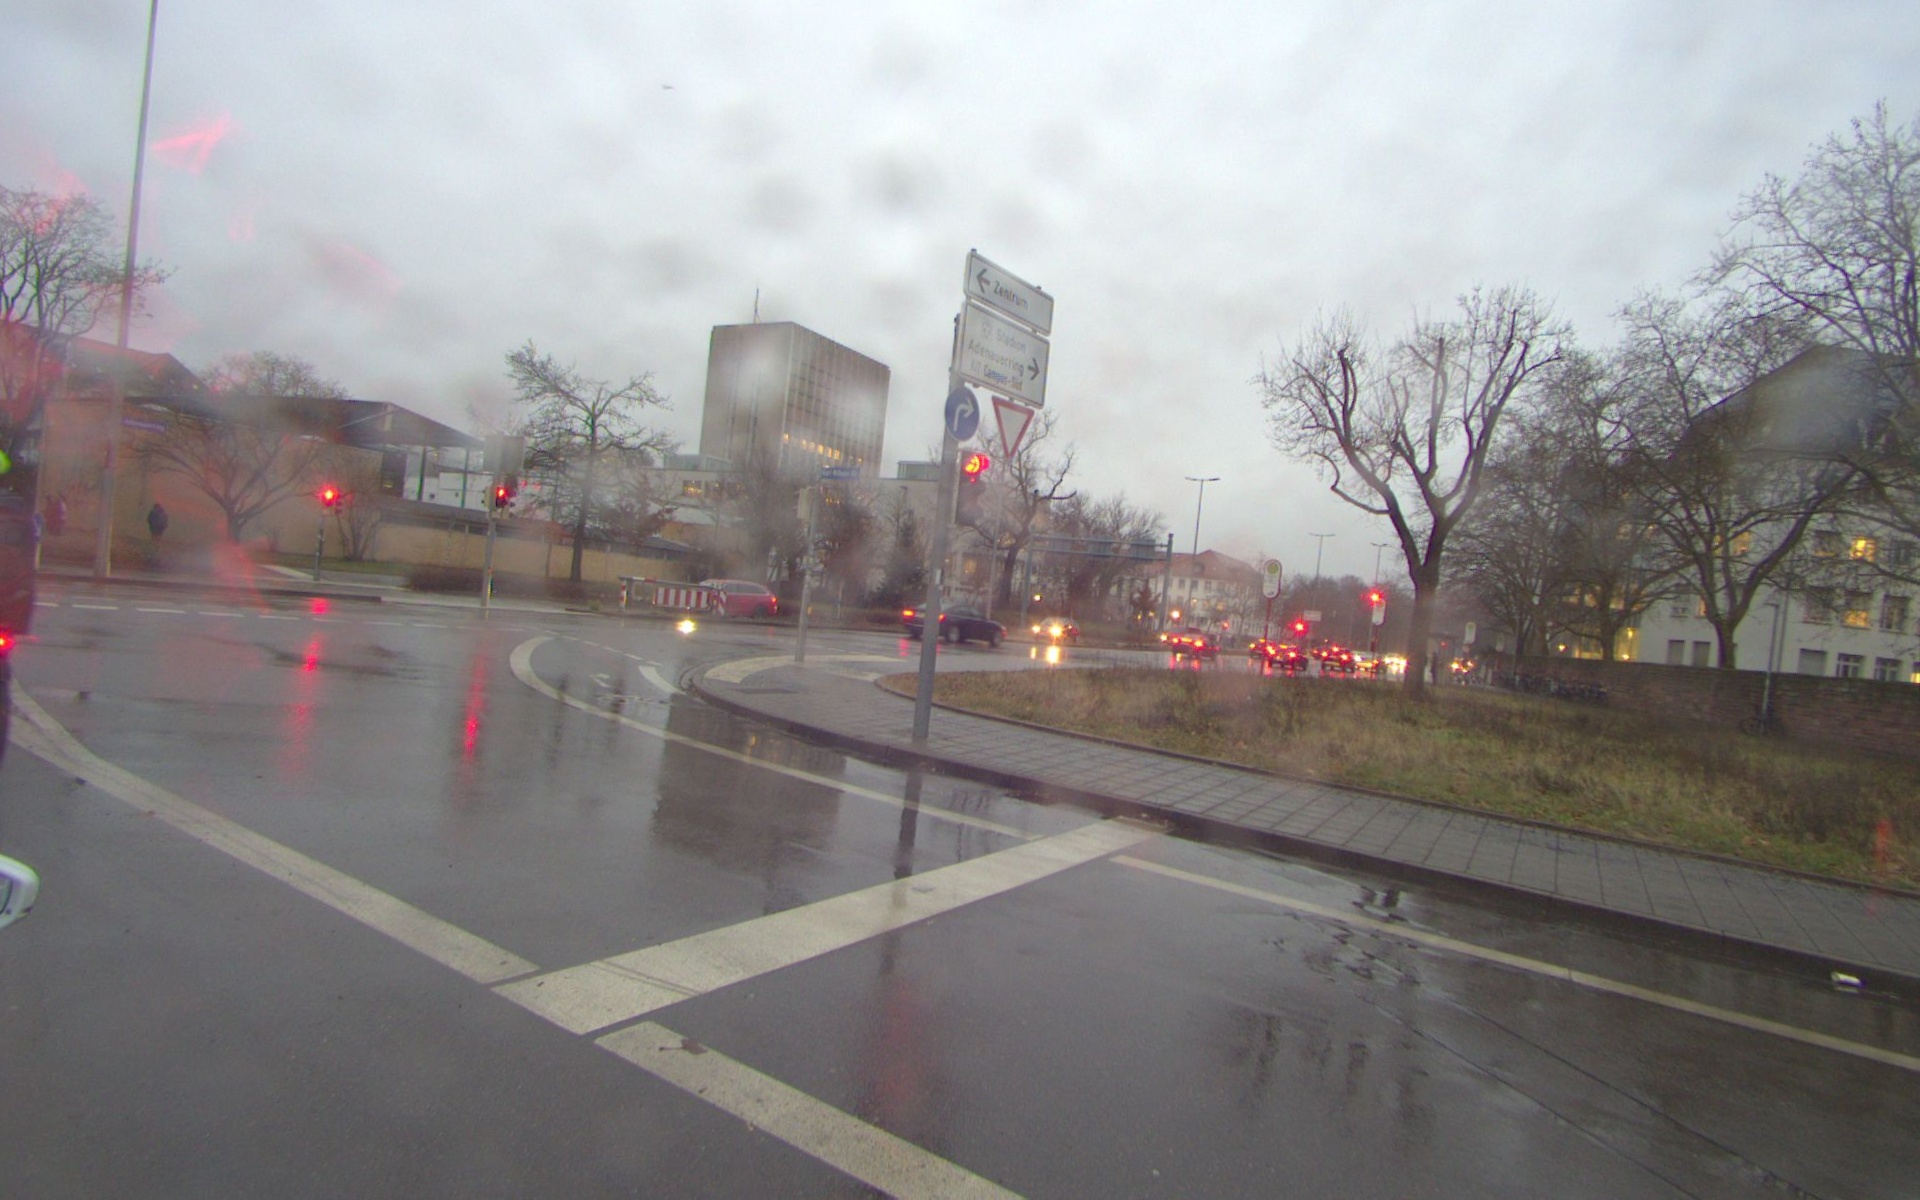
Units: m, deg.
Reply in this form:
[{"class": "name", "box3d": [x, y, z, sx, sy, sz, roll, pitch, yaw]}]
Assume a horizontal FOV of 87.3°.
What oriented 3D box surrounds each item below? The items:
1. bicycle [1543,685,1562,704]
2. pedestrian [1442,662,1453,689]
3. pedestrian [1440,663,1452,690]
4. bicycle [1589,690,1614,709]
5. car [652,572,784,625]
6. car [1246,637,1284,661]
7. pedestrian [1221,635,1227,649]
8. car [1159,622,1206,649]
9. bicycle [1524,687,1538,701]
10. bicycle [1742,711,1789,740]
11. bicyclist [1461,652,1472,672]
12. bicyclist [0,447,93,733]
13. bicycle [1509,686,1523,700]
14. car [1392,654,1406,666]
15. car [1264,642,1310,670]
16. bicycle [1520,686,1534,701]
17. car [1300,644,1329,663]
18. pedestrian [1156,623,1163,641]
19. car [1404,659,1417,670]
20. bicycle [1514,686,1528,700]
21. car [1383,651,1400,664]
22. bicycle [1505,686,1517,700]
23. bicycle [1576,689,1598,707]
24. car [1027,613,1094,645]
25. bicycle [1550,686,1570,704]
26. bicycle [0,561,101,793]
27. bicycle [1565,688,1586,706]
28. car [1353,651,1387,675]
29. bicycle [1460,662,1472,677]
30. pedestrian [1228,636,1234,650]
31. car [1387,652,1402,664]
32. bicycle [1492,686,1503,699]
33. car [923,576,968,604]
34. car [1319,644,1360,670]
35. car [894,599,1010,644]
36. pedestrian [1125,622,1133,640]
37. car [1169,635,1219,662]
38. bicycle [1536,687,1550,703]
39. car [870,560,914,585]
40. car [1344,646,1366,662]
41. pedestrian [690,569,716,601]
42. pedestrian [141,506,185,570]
[{"class": "bicycle", "box3d": [31.844, 5.073, 54.093, 0.387, 0.927, 1.532, 7, -2, 15]}, {"class": "pedestrian", "box3d": [38.746, 6.006, 79.964, 0.557, 2.040, 0.595, 8, 2, 33]}, {"class": "pedestrian", "box3d": [30.154, 4.731, 62.424, 0.462, 1.623, 0.486, 7, -1, 25]}, {"class": "bicycle", "box3d": [30.277, 4.672, 47.482, 0.352, 0.795, 1.415, 7, -2, 8]}, {"class": "car", "box3d": [-8.648, -0.028, 36.298, 1.784, 1.496, 4.411, 6, 0, 37]}, {"class": "car", "box3d": [24.295, 3.922, 80.135, 1.811, 1.602, 4.127, 6, 0, 31]}, {"class": "pedestrian", "box3d": [32.971, 5.245, 125.673, 0.404, 1.713, 0.561, 7, 2, 28]}, {"class": "car", "box3d": [18.728, 3.043, 84.636, 2.015, 1.903, 5.323, 6, 0, 33]}, {"class": "bicycle", "box3d": [32.843, 5.402, 57.872, 0.387, 0.795, 1.532, 7, -2, 19]}, {"class": "bicycle", "box3d": [28.205, 4.400, 35.231, 0.387, 0.834, 1.386, 7, -2, -4]}, {"class": "bicyclist", "box3d": [44.445, 5.449, 88.274, 0.599, 1.660, 0.453, 7, -1, 19]}, {"class": "bicyclist", "box3d": [-5.477, -0.103, 5.421, 1.115, 1.470, 0.785, 6, -1, 32]}, {"class": "bicycle", "box3d": [34.352, 5.739, 62.157, 0.387, 0.795, 1.532, 7, -2, 20]}, {"class": "car", "box3d": [75.395, 10.301, 172.870, 1.834, 1.783, 3.993, 7, 1, 27]}, {"class": "car", "box3d": [21.467, 3.693, 66.019, 1.811, 1.602, 4.127, 6, 0, 32]}, {"class": "bicycle", "box3d": [33.325, 5.485, 59.151, 0.387, 0.795, 1.532, 7, -2, 20]}, {"class": "car", "box3d": [40.918, 6.146, 116.051, 1.915, 1.903, 4.918, 6, 0, 33]}, {"class": "pedestrian", "box3d": [19.755, 3.214, 99.639, 0.411, 1.725, 0.430, 8, 3, 44]}, {"class": "car", "box3d": [83.909, 11.918, 187.320, 1.834, 1.783, 3.993, 7, 1, 27]}, {"class": "bicycle", "box3d": [33.831, 5.612, 60.669, 0.387, 0.795, 1.532, 7, -2, 20]}, {"class": "car", "box3d": [66.985, 8.939, 156.202, 1.965, 1.783, 3.993, 7, 1, 27]}, {"class": "bicycle", "box3d": [34.853, 5.864, 63.632, 0.387, 0.795, 1.532, 7, -2, 20]}, {"class": "bicycle", "box3d": [30.551, 4.768, 49.006, 0.387, 0.795, 1.533, 7, -2, 14]}, {"class": "car", "box3d": [5.858, 1.688, 58.306, 1.784, 1.496, 4.411, 6, 0, 37]}, {"class": "bicycle", "box3d": [31.359, 4.978, 52.562, 0.387, 0.868, 1.532, 7, -2, 15]}, {"class": "bicycle", "box3d": [-5.557, 0.321, 5.412, 1.925, 1.087, 0.785, 6, -2, 32]}, {"class": "bicycle", "box3d": [31.040, 4.875, 50.750, 0.343, 0.848, 1.493, 7, -2, 13]}, {"class": "car", "box3d": [34.276, 5.284, 84.030, 1.811, 1.710, 4.311, 6, 0, 32]}, {"class": "bicycle", "box3d": [44.361, 6.080, 88.259, 0.599, 1.181, 1.682, 7, -2, 19]}, {"class": "pedestrian", "box3d": [33.825, 5.360, 125.618, 0.404, 1.713, 0.427, 7, 2, 28]}, {"class": "car", "box3d": [70.641, 9.390, 163.552, 1.834, 1.783, 3.993, 7, 1, 27]}, {"class": "bicycle", "box3d": [36.393, 6.244, 68.112, 0.387, 0.795, 1.532, 7, -2, 20]}, {"class": "car", "box3d": [-1.425, -0.999, 103.213, 2.014, 2.452, 5.326, 6, 0, 30]}, {"class": "car", "box3d": [28.717, 4.331, 76.053, 1.812, 1.710, 4.311, 6, -1, 34]}, {"class": "car", "box3d": [-0.230, 0.848, 38.408, 1.909, 1.318, 4.681, 6, 0, 37]}, {"class": "pedestrian", "box3d": [16.764, 3.050, 99.957, 0.411, 1.725, 0.430, 8, 3, 44]}, {"class": "car", "box3d": [13.779, 2.871, 59.150, 1.673, 1.318, 3.758, 6, 0, 31]}, {"class": "bicycle", "box3d": [32.415, 5.288, 55.958, 0.387, 0.795, 1.607, 7, -2, 22]}, {"class": "car", "box3d": [-7.148, -2.921, 106.383, 2.014, 2.102, 4.892, 6, 0, 30]}, {"class": "car", "box3d": [51.647, 7.061, 131.497, 1.966, 1.783, 3.992, 7, 1, 29]}, {"class": "pedestrian", "box3d": [-13.978, -0.821, 54.722, 0.783, 1.624, 0.960, 8, 2, 39]}, {"class": "pedestrian", "box3d": [-28.687, -2.228, 36.206, 0.882, 2.141, 0.882, 8, 2, 35]}]
